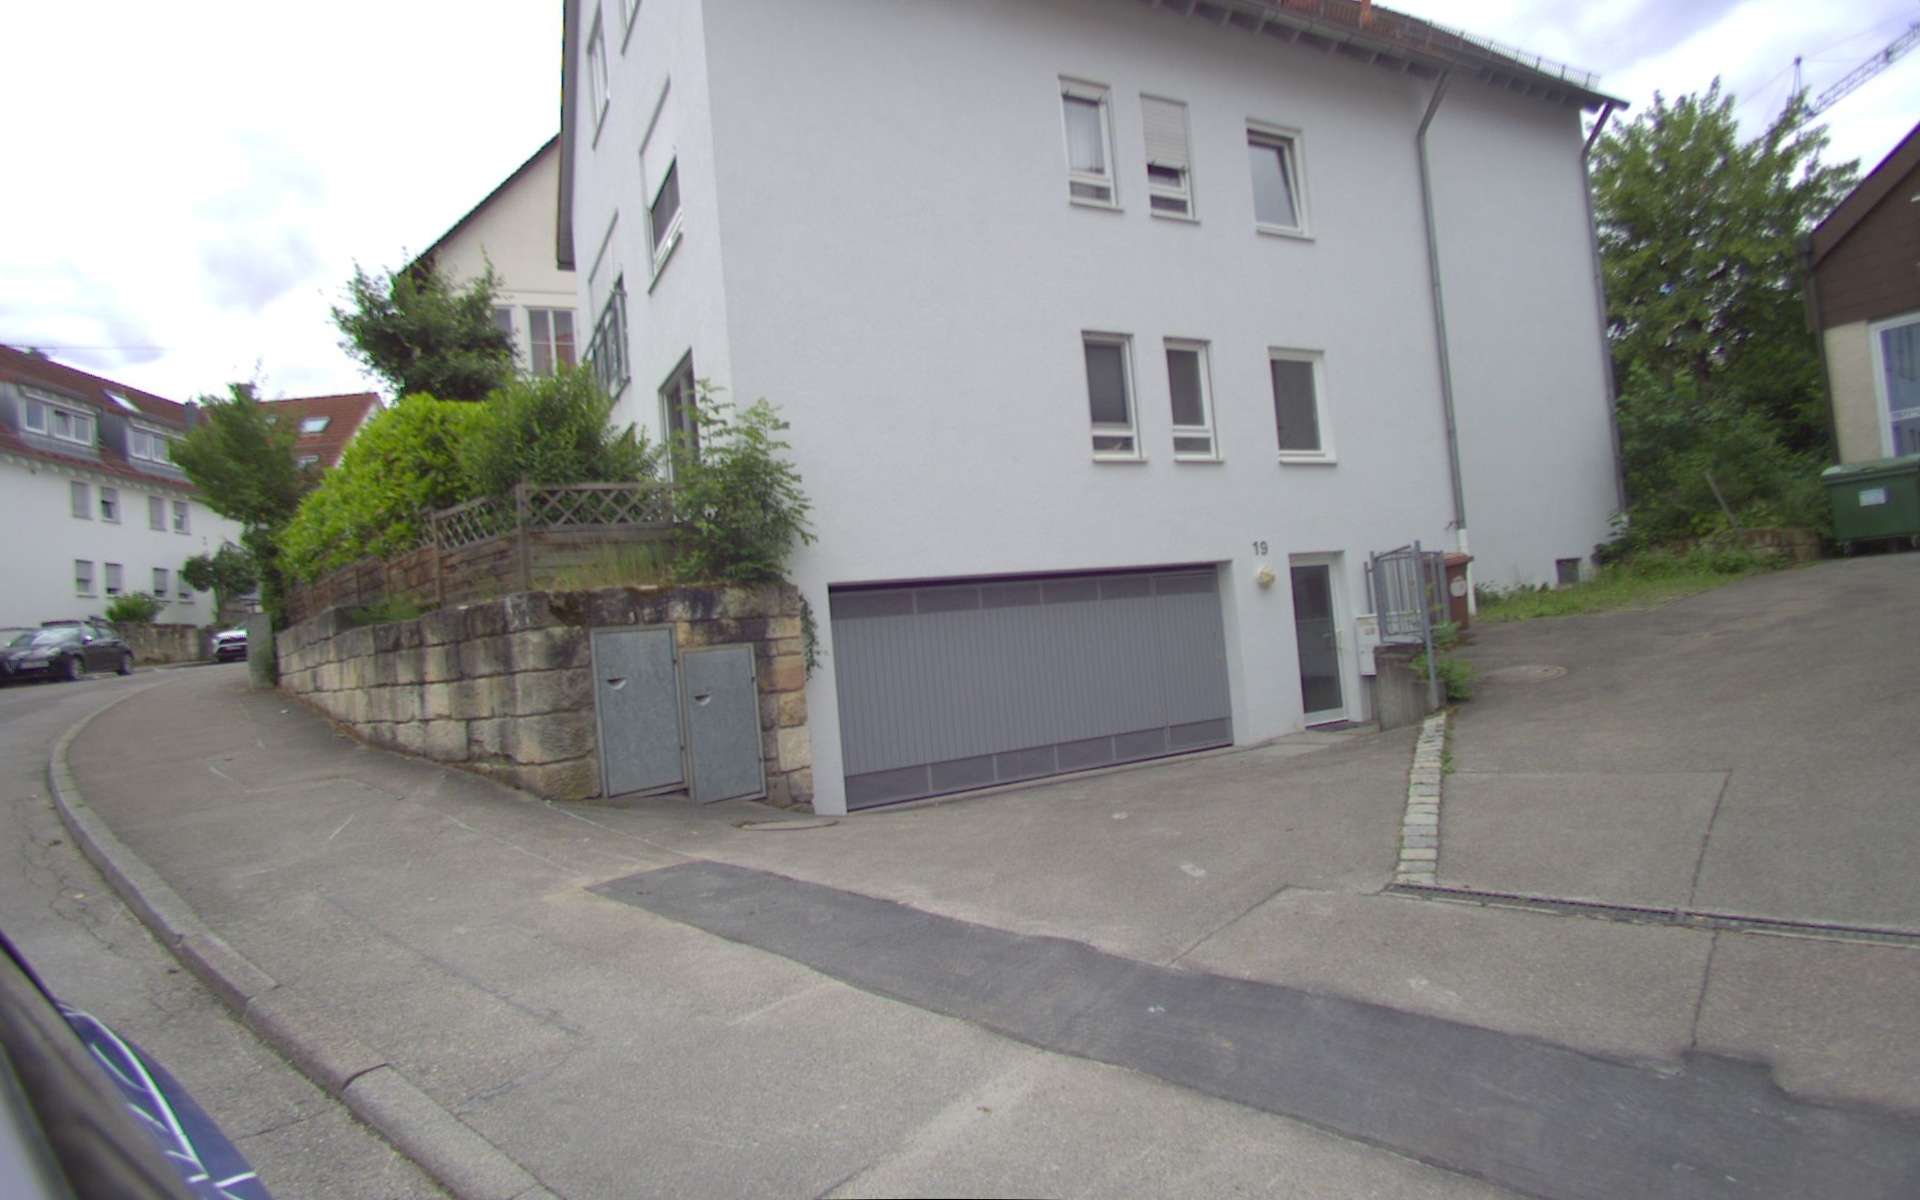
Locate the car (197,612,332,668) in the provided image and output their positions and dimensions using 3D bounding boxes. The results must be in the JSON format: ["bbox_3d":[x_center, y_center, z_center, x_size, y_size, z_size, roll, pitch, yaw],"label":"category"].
[{"bbox_3d":[-24.821,1.398,36.343,1.923,1.651,4.465,-6,-1,-5],"label":"car"}]

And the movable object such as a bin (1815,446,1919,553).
[{"bbox_3d":[14.103,-1.533,15.243,1.428,1.410,1.443,-6,-1,-35],"label":"movable object such as a bin"}]

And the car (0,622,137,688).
[{"bbox_3d":[-22.712,1.350,25.461,1.695,1.417,4.015,-6,0,-18],"label":"car"}]
